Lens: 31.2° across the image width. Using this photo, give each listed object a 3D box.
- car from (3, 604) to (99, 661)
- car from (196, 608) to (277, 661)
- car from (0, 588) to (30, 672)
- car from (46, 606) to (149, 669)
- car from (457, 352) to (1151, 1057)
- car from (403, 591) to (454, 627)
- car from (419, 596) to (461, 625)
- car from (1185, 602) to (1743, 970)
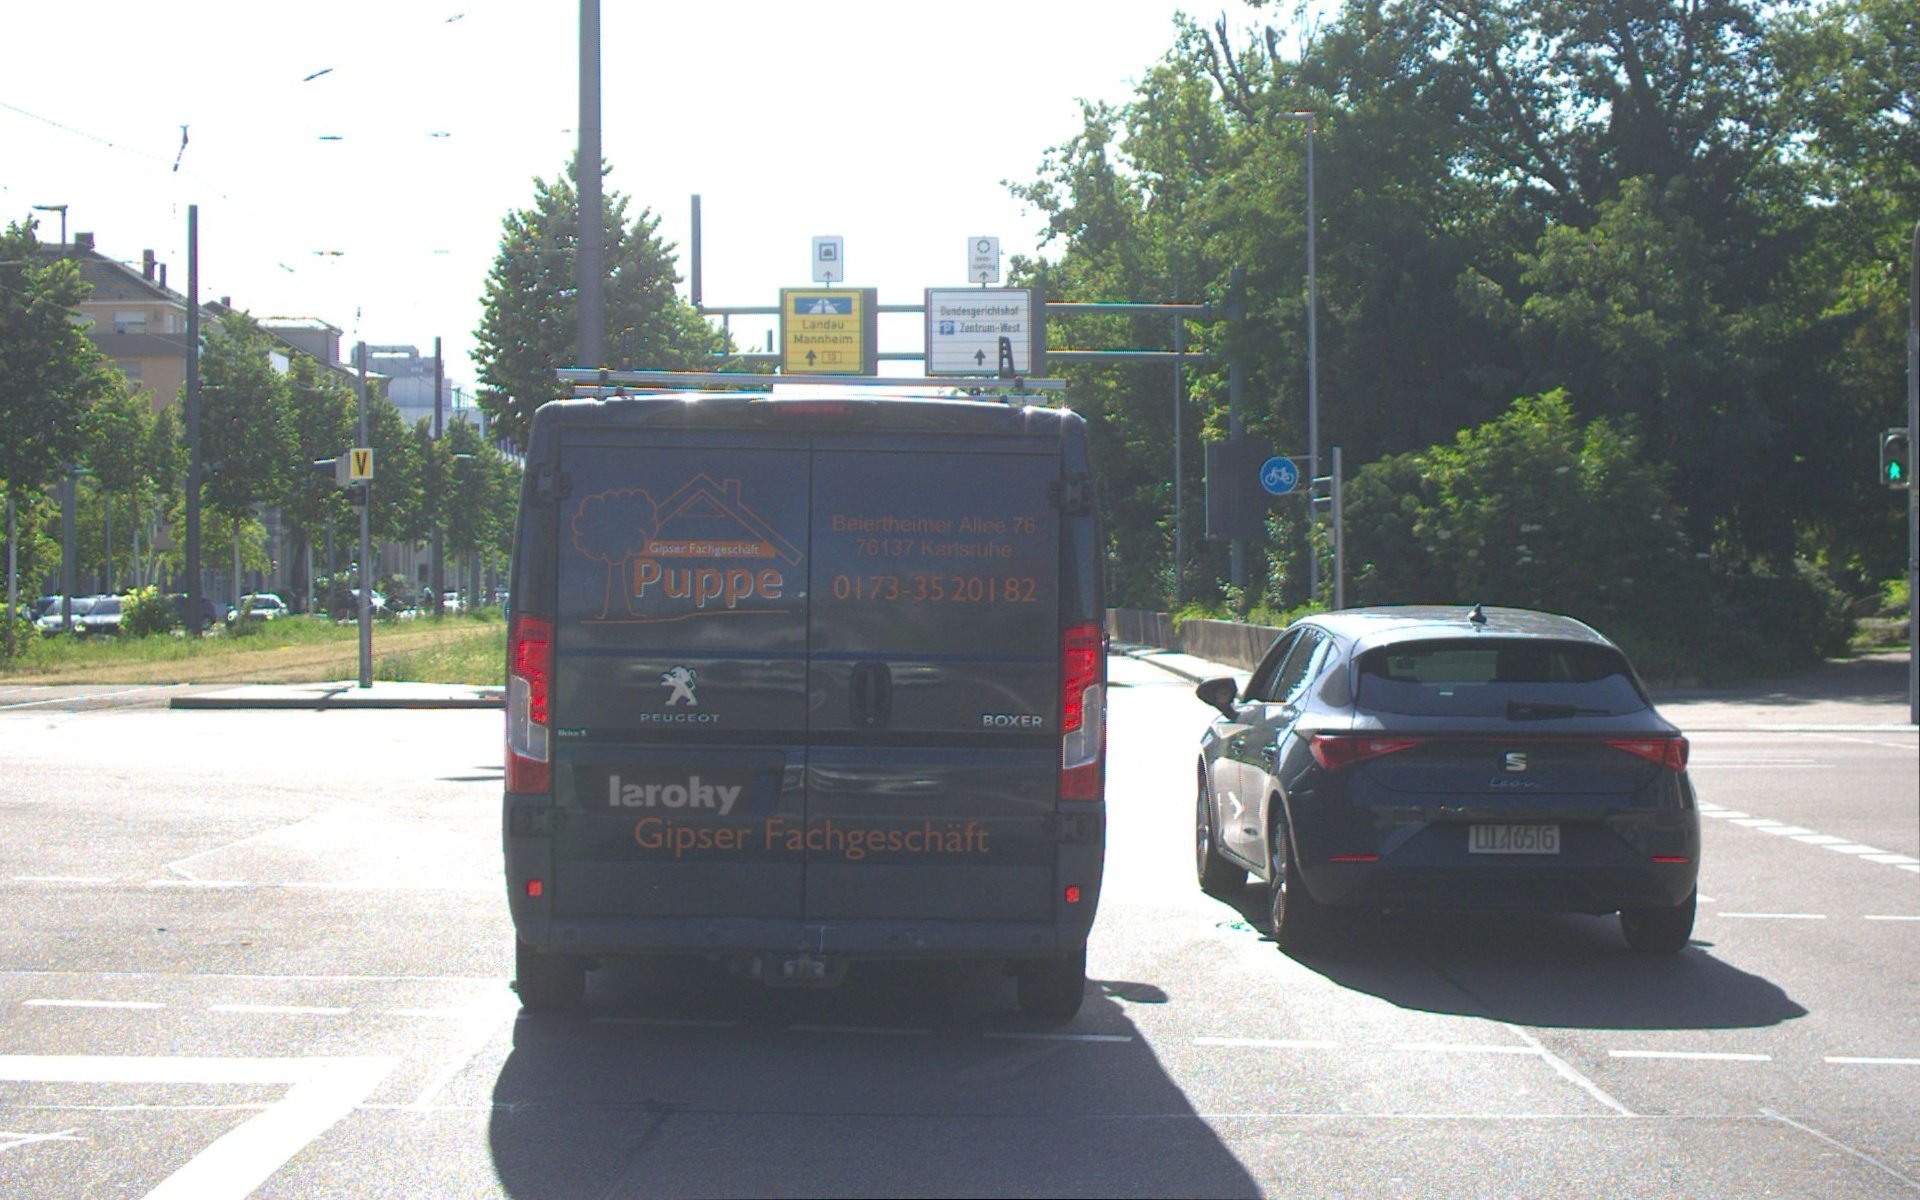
[{"bbox_3d":[-27.152,0.961,102.794,1.790,1.645,4.000,0,0,0],"label":"car"},{"bbox_3d":[-23.463,1.113,111.528,1.790,1.645,4.000,0,0,0],"label":"car"},{"bbox_3d":[-19.763,0.589,67.739,1.790,1.645,4.000,0,0,0],"label":"car"},{"bbox_3d":[-23.345,1.002,93.126,1.790,1.645,4.000,0,0,0],"label":"car"},{"bbox_3d":[-0.581,0.313,13.462,2.218,2.259,4.484,1,1,-2],"label":"car"},{"bbox_3d":[-25.098,0.431,162.376,1.790,1.645,4.000,0,0,0],"label":"car"},{"bbox_3d":[-29.566,0.593,195.623,1.790,1.645,4.000,0,0,0],"label":"car"},{"bbox_3d":[2.129,0.743,15.567,1.791,1.423,3.850,1,0,-2],"label":"car"}]
